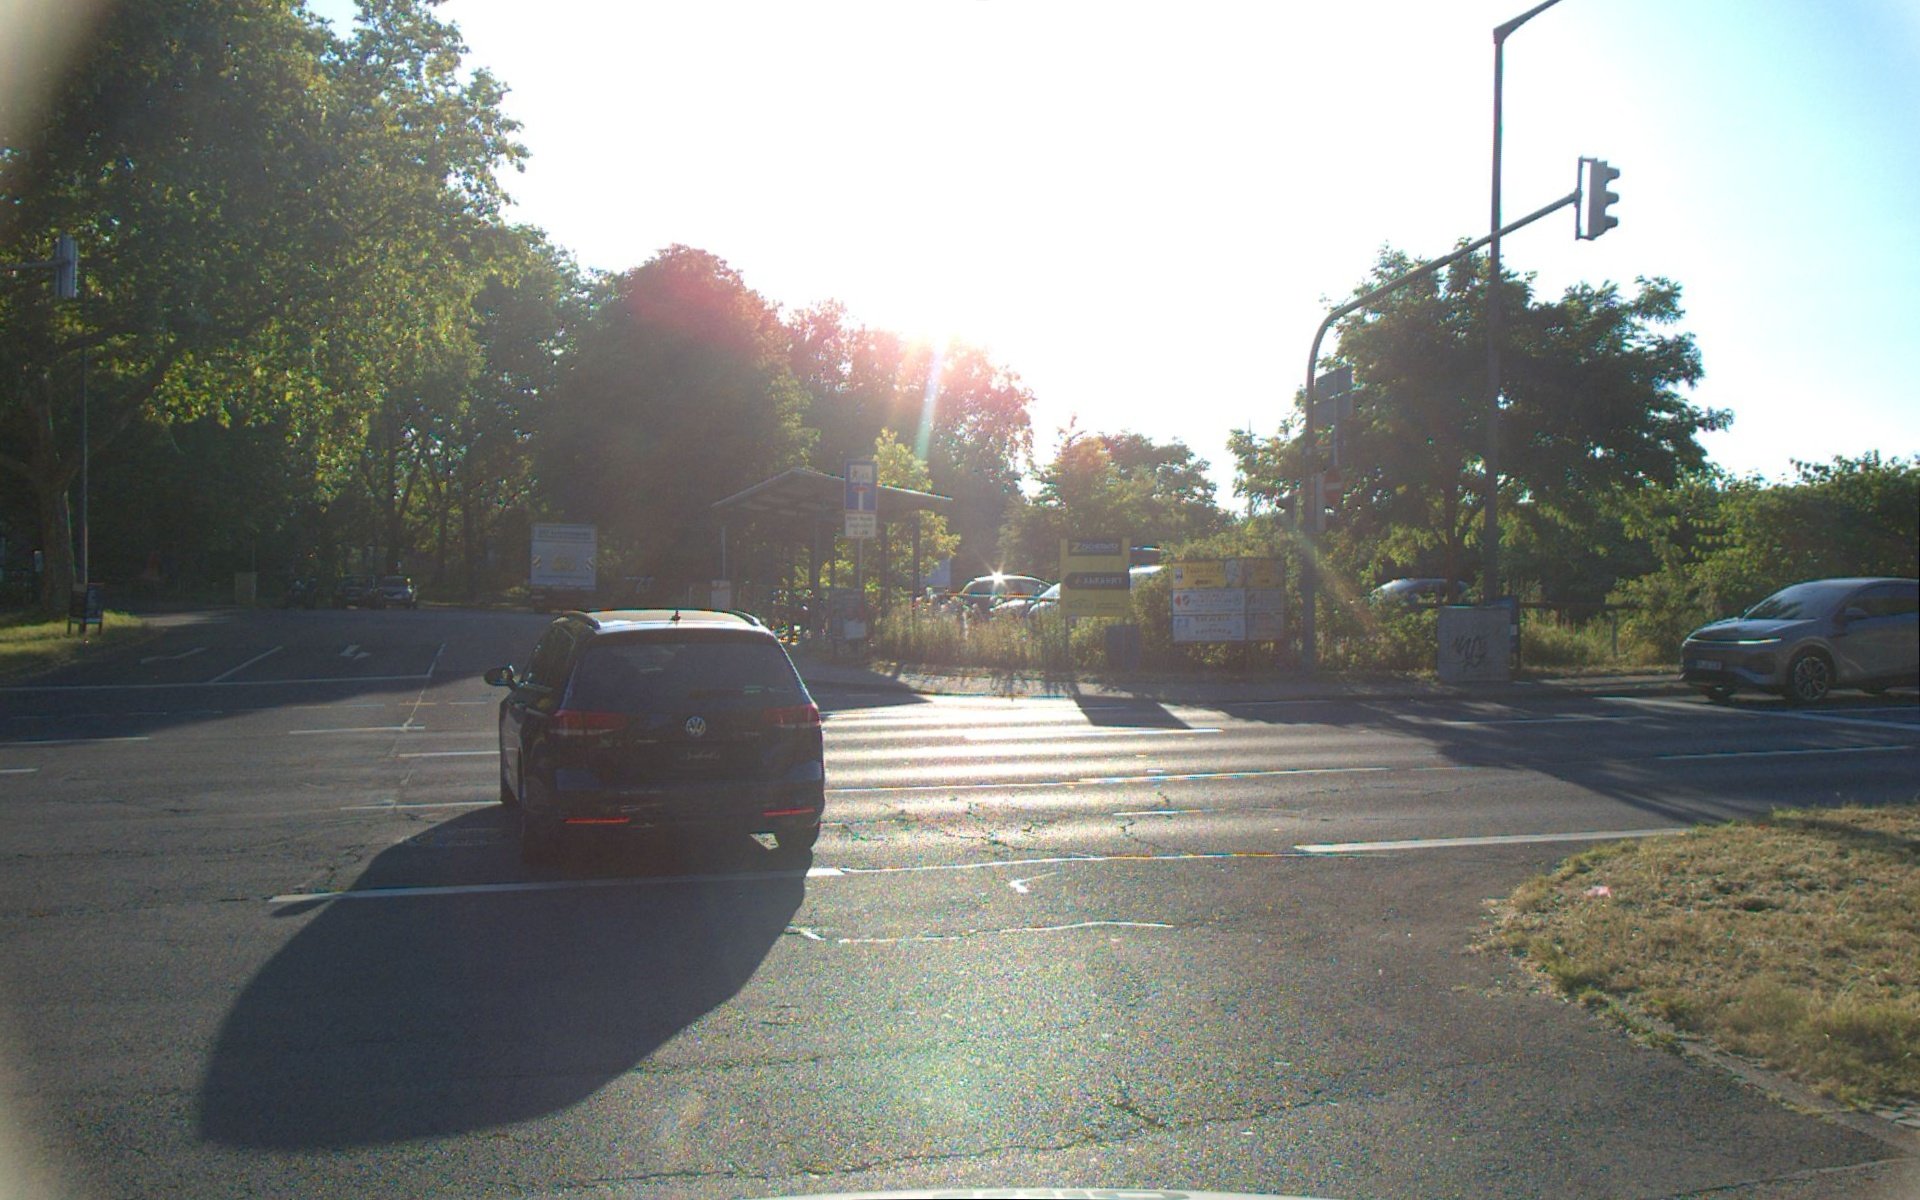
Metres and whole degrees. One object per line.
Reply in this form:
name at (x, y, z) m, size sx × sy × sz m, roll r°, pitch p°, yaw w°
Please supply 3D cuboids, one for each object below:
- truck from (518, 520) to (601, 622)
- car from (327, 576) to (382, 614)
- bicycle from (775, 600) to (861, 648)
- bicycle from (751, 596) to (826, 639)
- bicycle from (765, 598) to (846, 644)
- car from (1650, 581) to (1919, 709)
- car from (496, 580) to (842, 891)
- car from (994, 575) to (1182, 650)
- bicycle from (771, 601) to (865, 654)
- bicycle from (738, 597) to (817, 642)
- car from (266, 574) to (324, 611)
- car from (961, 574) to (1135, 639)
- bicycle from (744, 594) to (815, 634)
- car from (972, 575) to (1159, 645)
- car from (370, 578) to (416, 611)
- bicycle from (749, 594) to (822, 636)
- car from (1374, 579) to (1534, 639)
truck at (-16.829, -1.244, 69.870) m, size 3.129 × 3.943 × 11.063 m, roll 0°, pitch 1°, yaw -13°
car at (-25.874, -0.235, 70.769) m, size 1.814 × 1.579 × 3.985 m, roll 0°, pitch 1°, yaw -14°
bicycle at (-3.182, 0.528, 37.022) m, size 1.856 × 1.056 × 0.542 m, roll 0°, pitch 1°, yaw -16°
bicycle at (-4.329, 0.444, 41.735) m, size 1.854 × 1.056 × 0.542 m, roll 0°, pitch 1°, yaw -12°
bicycle at (-3.660, 0.496, 39.183) m, size 1.856 × 1.056 × 0.542 m, roll 0°, pitch 1°, yaw -16°
car at (12.152, 0.571, 23.151) m, size 4.461 × 1.646 × 1.868 m, roll 0°, pitch 1°, yaw -17°
car at (-2.105, 0.683, 10.922) m, size 1.795 × 1.582 × 4.240 m, roll 0°, pitch 1°, yaw -16°
car at (2.969, 0.269, 38.685) m, size 3.924 × 1.677 × 2.110 m, roll 0°, pitch 1°, yaw -18°
bicycle at (-2.924, 0.550, 34.086) m, size 1.856 × 1.056 × 0.542 m, roll 0°, pitch 1°, yaw -16°
bicycle at (-4.398, 0.458, 39.875) m, size 1.856 × 1.056 × 0.542 m, roll 0°, pitch 1°, yaw -16°
car at (-29.020, -0.345, 72.226) m, size 1.814 × 1.579 × 3.985 m, roll 0°, pitch 1°, yaw -14°
car at (2.352, 0.146, 44.520) m, size 4.238 × 1.677 × 2.110 m, roll 0°, pitch 1°, yaw -18°
bicycle at (-4.819, 0.365, 44.240) m, size 1.854 × 1.056 × 0.542 m, roll 0°, pitch 1°, yaw -12°
car at (2.640, 0.222, 41.629) m, size 4.238 × 1.677 × 2.110 m, roll 0°, pitch 1°, yaw -18°
car at (-28.197, -0.272, 82.304) m, size 1.814 × 1.579 × 3.985 m, roll 0°, pitch 1°, yaw -14°
bicycle at (-4.540, 0.391, 42.965) m, size 1.854 × 1.056 × 0.542 m, roll 0°, pitch 1°, yaw -12°
car at (14.263, 0.235, 47.865) m, size 3.911 × 1.665 × 2.117 m, roll 0°, pitch 1°, yaw -7°
